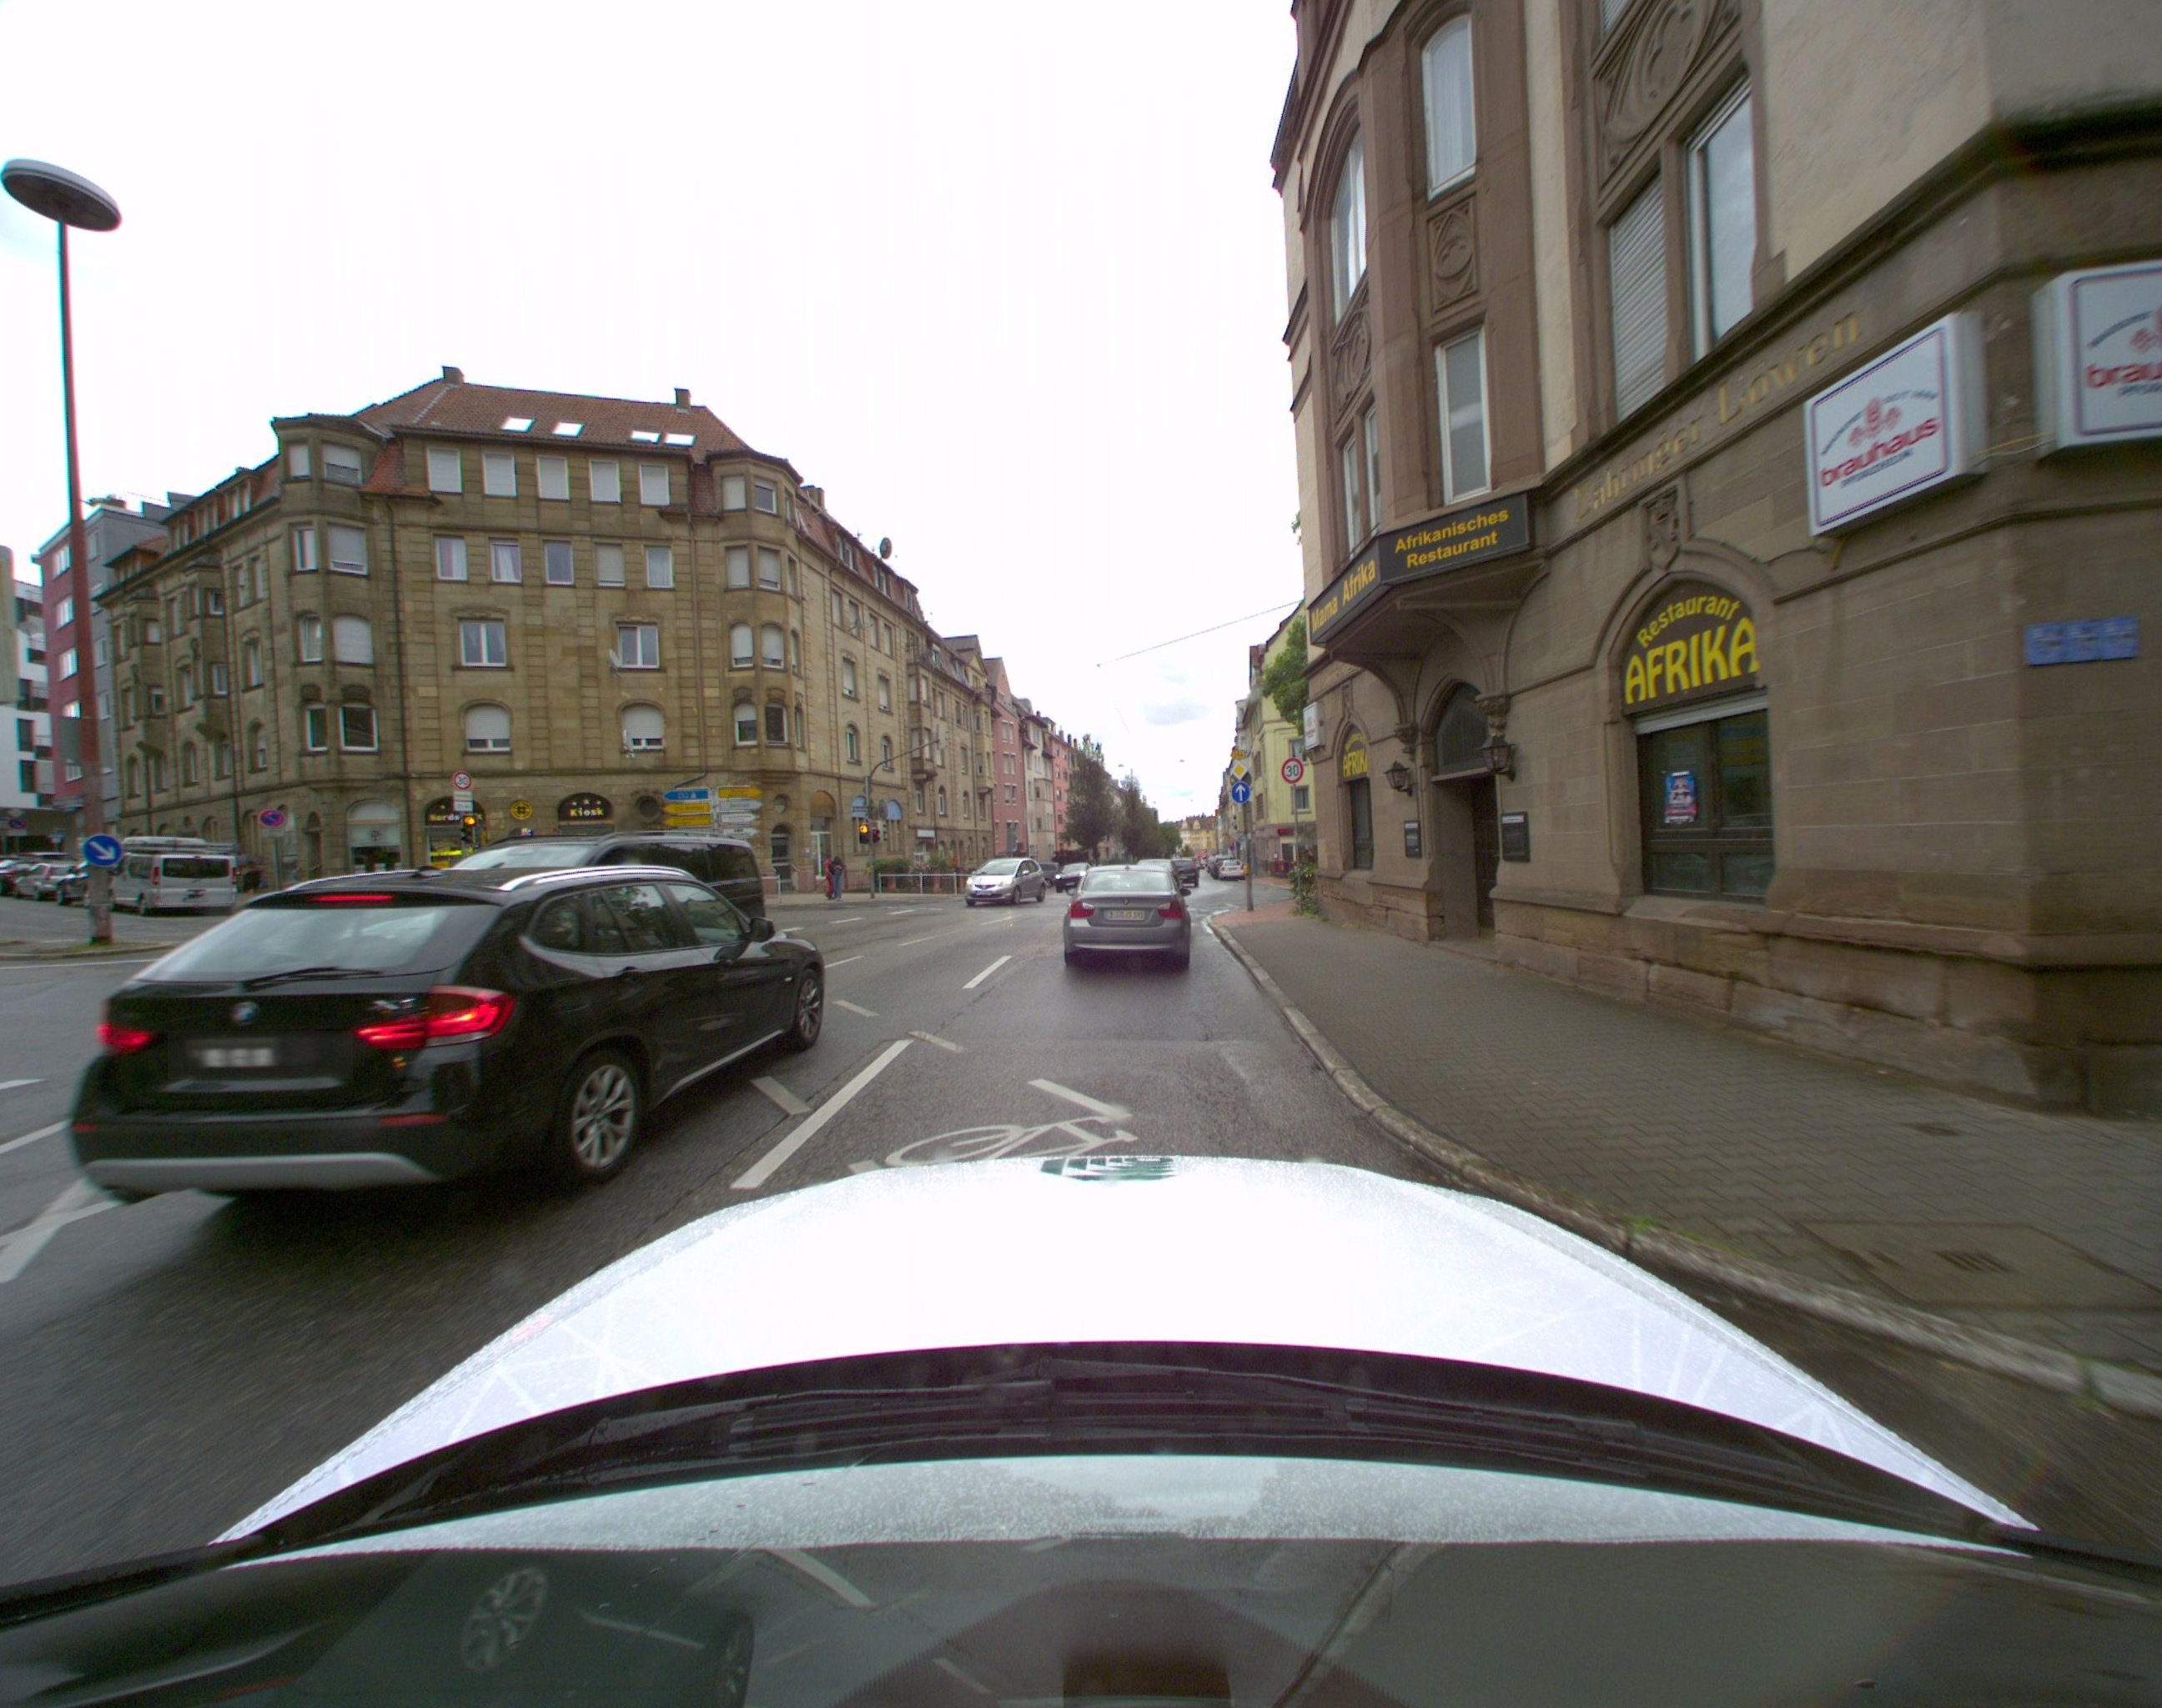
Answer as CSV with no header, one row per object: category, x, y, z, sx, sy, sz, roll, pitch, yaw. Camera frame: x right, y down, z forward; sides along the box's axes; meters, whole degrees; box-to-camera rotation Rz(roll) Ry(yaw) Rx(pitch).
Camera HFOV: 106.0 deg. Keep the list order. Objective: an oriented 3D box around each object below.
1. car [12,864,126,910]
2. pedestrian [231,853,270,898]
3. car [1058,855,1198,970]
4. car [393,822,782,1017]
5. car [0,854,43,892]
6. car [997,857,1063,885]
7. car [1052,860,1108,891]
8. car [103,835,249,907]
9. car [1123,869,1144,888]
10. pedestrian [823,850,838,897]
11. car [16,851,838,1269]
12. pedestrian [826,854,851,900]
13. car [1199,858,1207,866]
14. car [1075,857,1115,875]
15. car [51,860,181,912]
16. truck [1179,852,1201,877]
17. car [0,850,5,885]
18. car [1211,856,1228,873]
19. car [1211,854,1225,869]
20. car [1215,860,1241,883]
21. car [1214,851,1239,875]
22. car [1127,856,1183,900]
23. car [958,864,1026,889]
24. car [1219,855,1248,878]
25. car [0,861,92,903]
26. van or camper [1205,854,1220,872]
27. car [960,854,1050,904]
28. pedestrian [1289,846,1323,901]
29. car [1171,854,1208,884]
car,-40.023,1.276,32.203,4.162,1.704,2.012,-1,-1,27
pedestrian,-31.183,0.797,30.593,0.665,1.661,0.784,-1,-1,3
car,0.596,0.794,12.241,1.764,1.428,3.739,-1,-2,0
car,-5.633,0.679,10.040,1.731,1.846,4.158,-3,-1,10
car,-50.083,0.873,37.516,4.162,1.704,2.012,-1,-1,27
car,-3.694,1.209,59.386,4.661,1.939,1.862,-1,0,-2
car,-0.004,1.276,48.006,1.949,1.693,4.828,-2,-2,17
car,-29.484,0.568,26.519,4.743,2.168,2.012,-1,-1,27
car,5.185,2.415,80.184,1.611,1.649,4.430,-6,-2,8
pedestrian,-9.615,0.740,31.232,0.523,1.774,0.690,0,-1,-16
car,-3.093,0.822,5.181,1.746,1.535,4.215,-1,-1,1
pedestrian,-9.103,0.865,30.525,0.829,1.702,0.634,0,-1,-22
car,29.303,1.894,195.545,1.868,1.731,4.450,-1,-1,8
car,1.802,1.550,103.593,4.801,1.974,2.052,-4,-1,8
car,-33.931,1.095,28.634,4.326,1.704,2.012,-1,-1,27
truck,10.584,1.044,79.270,2.020,2.413,4.837,-1,-1,8
car,-54.777,0.707,39.773,4.162,1.704,2.012,-1,-1,27
car,18.474,1.405,108.608,1.970,2.007,4.635,-4,-1,8
car,20.718,1.163,123.342,1.970,2.166,4.761,-4,-1,8
car,11.601,1.367,64.504,1.868,1.731,4.687,-1,-1,8
car,12.564,0.799,70.556,1.908,1.827,5.021,-4,-1,8
car,2.711,0.842,29.083,1.671,1.428,3.750,-1,-1,10
car,-5.920,1.486,54.367,4.123,1.510,1.877,-2,-1,8
car,10.977,0.889,58.972,1.789,1.565,4.502,-1,-1,7
car,-44.535,1.164,34.815,4.162,1.704,2.012,-1,-1,27
van or camper,21.517,1.448,133.417,2.019,2.869,6.907,0,-1,12
car,-2.421,0.789,26.959,1.612,1.518,3.888,-1,0,16
pedestrian,7.052,0.587,25.474,0.820,1.679,0.899,-1,-1,28
car,5.635,0.800,42.688,1.689,1.483,3.798,-1,-1,5
